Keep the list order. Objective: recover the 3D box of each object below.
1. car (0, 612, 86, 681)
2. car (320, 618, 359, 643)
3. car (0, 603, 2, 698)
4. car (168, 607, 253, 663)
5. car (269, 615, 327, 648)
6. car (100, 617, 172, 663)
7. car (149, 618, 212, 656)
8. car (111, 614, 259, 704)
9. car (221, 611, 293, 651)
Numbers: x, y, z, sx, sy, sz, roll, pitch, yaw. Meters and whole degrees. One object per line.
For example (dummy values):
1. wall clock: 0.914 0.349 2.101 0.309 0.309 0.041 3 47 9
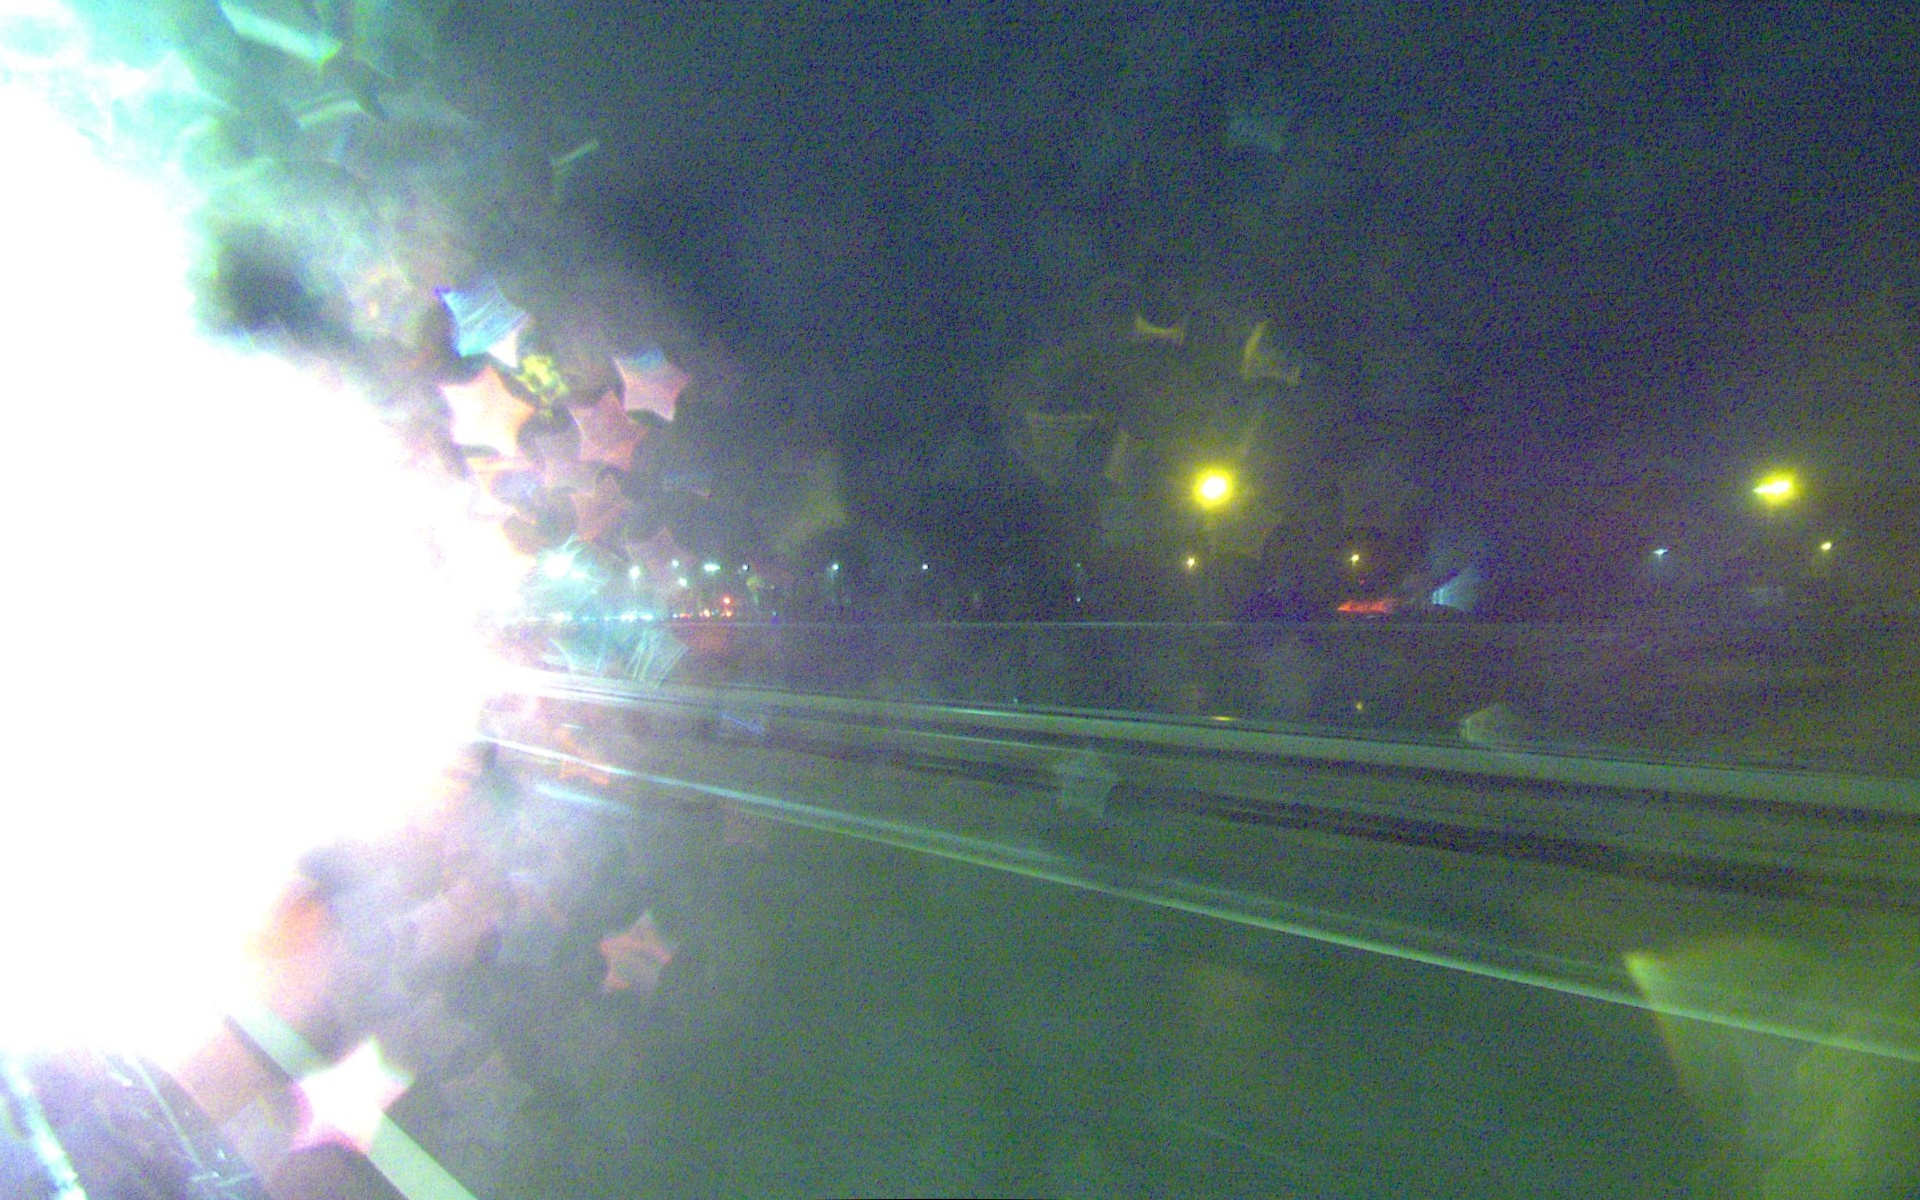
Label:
1. car: -28.210 1.392 30.690 1.966 1.949 4.011 0 -2 -32
2. car: -50.577 2.497 82.569 1.965 1.949 4.013 0 -1 -20
3. car: -18.731 0.955 18.221 1.907 1.887 4.006 0 -2 -40
4. car: -30.245 1.382 40.964 2.341 2.107 4.430 0 -2 -31
5. car: -41.222 1.930 63.136 2.340 1.950 4.431 0 -1 -24
6. car: -36.637 1.760 45.076 1.966 1.949 4.011 0 -2 -32
7. car: -42.411 2.013 55.125 1.965 1.949 4.013 0 -1 -26
8. car: -14.677 1.052 19.088 1.969 1.495 4.006 0 -2 -41
9. car: -36.239 1.580 52.285 2.340 1.950 4.431 0 -1 -25
